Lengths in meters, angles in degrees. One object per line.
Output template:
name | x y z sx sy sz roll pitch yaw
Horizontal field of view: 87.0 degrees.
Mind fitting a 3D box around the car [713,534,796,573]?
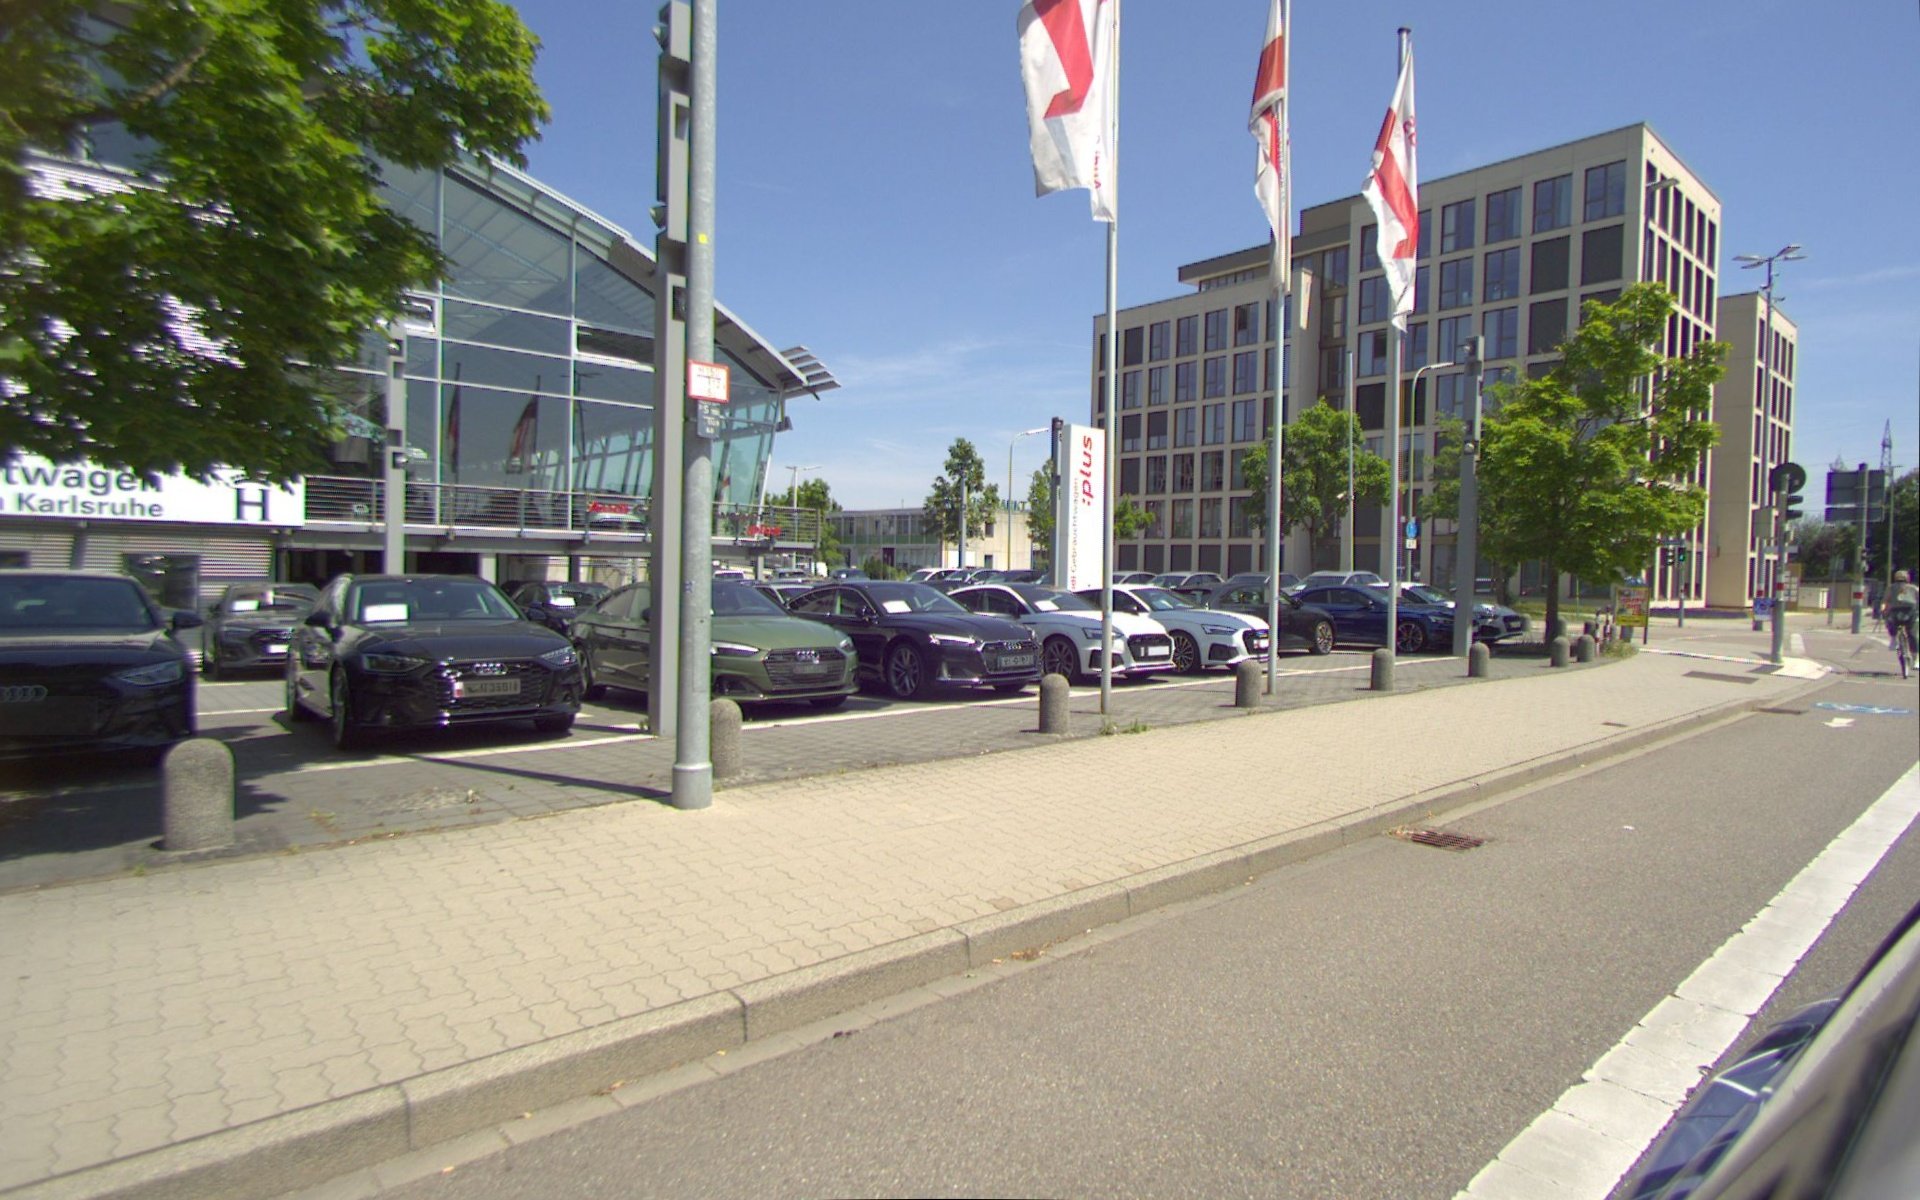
car | -11.056 -2.488 54.259 1.882 1.991 5.242 0 2 -43

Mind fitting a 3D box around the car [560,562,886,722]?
car | -2.768 0.380 11.164 1.836 1.422 4.108 0 0 -41

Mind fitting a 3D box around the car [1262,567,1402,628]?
car | 10.855 -0.146 29.375 4.425 1.577 1.872 -2 4 -40

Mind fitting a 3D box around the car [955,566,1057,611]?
car | 1.822 -0.445 39.578 1.844 1.675 3.934 -1 0 44

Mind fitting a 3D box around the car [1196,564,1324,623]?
car | 9.303 -0.225 31.236 3.926 1.675 1.849 -2 1 -38

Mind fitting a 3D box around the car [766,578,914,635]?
car | -3.706 0.177 31.681 4.264 1.647 1.879 -1 0 -38

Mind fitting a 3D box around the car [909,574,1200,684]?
car | 1.238 0.363 14.707 1.836 1.366 4.106 0 0 -41

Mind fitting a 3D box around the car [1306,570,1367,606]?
car | 21.561 -0.691 58.145 1.885 1.910 4.927 1 1 4

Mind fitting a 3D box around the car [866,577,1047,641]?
car | -0.031 0.206 26.728 4.630 1.535 1.879 -1 0 -38

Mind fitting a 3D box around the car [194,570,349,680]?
car | -12.042 0.389 17.597 1.818 1.675 3.992 0 0 -41

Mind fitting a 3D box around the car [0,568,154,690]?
car | -13.947 0.410 15.950 1.818 1.675 3.992 0 0 -41

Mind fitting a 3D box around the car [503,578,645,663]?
car | -8.048 0.393 20.953 1.613 1.600 3.653 0 0 -41

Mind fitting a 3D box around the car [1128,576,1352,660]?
car | 5.462 0.299 19.460 4.579 1.438 1.866 -1 0 -39

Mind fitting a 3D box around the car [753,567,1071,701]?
car | -0.766 0.366 12.864 1.836 1.408 4.233 0 0 -41

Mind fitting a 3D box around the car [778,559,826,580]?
car | -16.079 -3.038 102.873 4.496 2.039 1.997 0 0 -41

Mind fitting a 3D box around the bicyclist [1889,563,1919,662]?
bicyclist | 16.144 0.204 17.074 0.812 1.626 0.628 0 0 -43

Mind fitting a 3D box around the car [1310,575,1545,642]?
car | 10.671 0.183 23.398 1.836 1.408 4.600 0 0 -40

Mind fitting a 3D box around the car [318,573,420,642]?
car | -15.049 0.179 25.692 1.613 1.630 3.653 0 0 -41

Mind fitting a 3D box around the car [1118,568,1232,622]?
car | 7.112 -0.162 33.211 1.844 1.675 3.934 -1 0 44

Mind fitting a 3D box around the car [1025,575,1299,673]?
car | 3.148 0.347 16.416 1.841 1.382 4.103 0 0 -41

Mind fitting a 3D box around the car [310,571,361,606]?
car | -30.534 -0.536 49.443 1.584 1.630 3.517 0 0 -41

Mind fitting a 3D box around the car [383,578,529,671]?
car | -9.754 0.424 19.447 1.605 1.593 3.989 0 0 -40

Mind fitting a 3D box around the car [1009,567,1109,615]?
car | 3.695 -0.351 37.405 1.629 1.675 3.848 1 1 44

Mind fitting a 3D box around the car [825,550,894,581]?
car | -5.864 -2.005 58.673 1.878 1.715 4.587 0 2 -37

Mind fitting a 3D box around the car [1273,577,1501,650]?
car | 9.017 0.268 21.625 1.836 1.408 4.103 0 0 -41

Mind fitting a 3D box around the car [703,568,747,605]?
car | -10.793 -0.668 46.600 1.812 1.590 4.007 1 2 -11

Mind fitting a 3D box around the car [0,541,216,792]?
car | -6.727 0.401 7.418 1.802 1.472 3.687 0 0 -41

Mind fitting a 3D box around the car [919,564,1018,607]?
car | 0.381 -0.569 41.597 1.844 1.675 3.934 -1 0 44

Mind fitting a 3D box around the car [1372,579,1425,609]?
car | 24.070 -0.358 55.678 1.672 1.450 3.991 1 2 9

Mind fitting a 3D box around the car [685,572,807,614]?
car | -7.336 -0.252 34.842 3.751 1.363 1.677 0 2 -39

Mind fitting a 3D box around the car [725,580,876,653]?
car | -3.965 0.370 24.722 1.818 1.619 3.992 0 0 -41

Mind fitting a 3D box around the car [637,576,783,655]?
car | -5.760 0.327 23.026 1.628 1.642 3.992 0 0 -40

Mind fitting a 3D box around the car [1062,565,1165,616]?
car | 5.376 -0.306 35.133 1.637 1.636 3.756 1 0 44

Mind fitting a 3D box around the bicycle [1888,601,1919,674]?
bicycle | 16.124 0.606 17.047 1.864 1.147 0.628 -1 1 -44

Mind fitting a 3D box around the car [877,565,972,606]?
car | -1.509 -0.595 43.716 1.844 1.675 3.934 -1 0 44

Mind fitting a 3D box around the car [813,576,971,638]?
car | -1.904 0.178 29.075 4.230 1.647 1.879 -1 0 -38

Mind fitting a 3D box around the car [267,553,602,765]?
car | -4.944 0.414 9.208 1.836 1.472 4.108 0 0 -41

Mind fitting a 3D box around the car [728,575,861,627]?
car | -5.414 0.008 33.311 3.928 1.559 1.856 0 2 -39

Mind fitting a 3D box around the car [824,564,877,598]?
car | -5.555 -0.988 51.058 1.811 1.489 4.628 1 2 -17

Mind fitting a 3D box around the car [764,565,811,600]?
car | -8.285 -0.859 48.403 1.653 1.522 3.811 -2 3 -19
